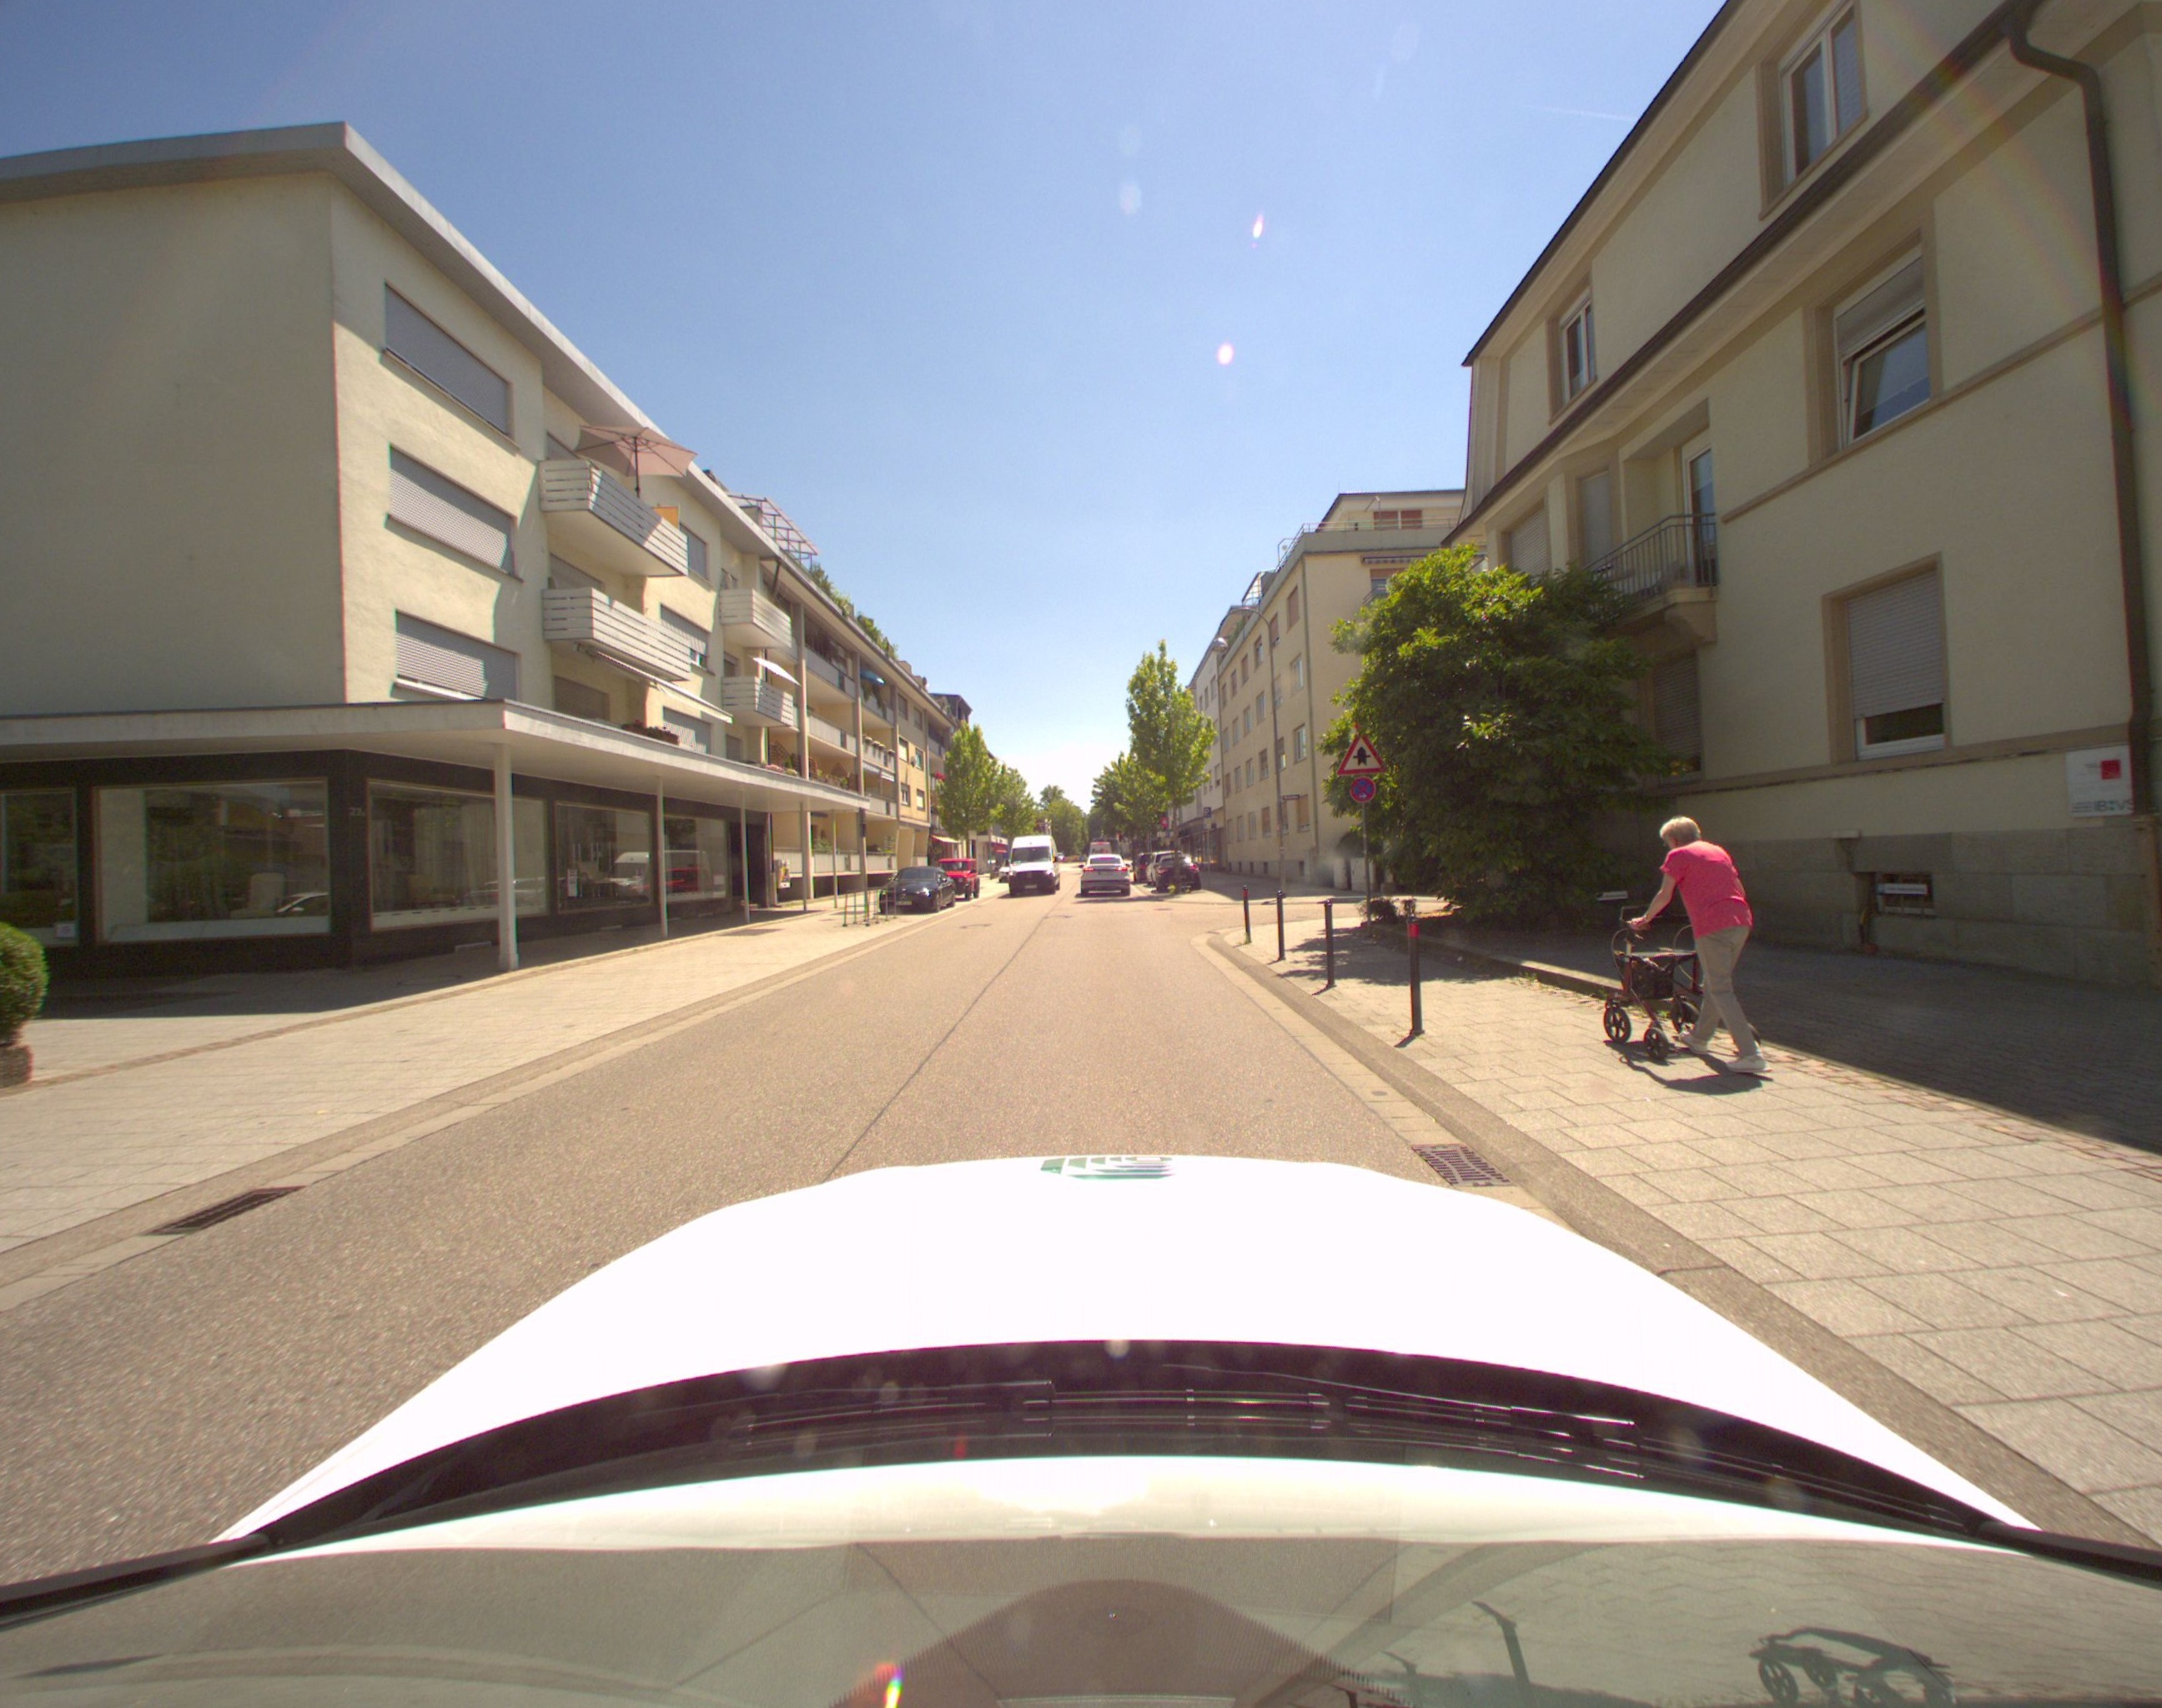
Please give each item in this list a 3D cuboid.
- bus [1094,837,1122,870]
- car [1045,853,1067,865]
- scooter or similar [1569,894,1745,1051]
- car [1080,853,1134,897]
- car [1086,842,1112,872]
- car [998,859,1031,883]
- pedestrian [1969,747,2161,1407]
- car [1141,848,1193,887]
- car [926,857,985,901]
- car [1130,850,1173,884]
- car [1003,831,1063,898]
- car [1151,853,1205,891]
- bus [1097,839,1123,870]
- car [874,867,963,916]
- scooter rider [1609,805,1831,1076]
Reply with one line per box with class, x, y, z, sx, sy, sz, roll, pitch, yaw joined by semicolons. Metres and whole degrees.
bus;2.810;0.003;83.330;2.649;3.221;7.308;-1;-1;4
car;-3.960;0.814;129.426;1.848;1.757;4.023;-1;-1;24
scooter or similar;4.018;0.798;5.739;0.661;0.963;0.754;-4;0;1
car;0.980;0.790;32.556;1.987;1.633;3.999;-1;0;0
car;1.561;0.248;69.303;2.148;2.442;5.285;-1;-1;1
car;-4.579;1.164;56.934;1.745;1.618;4.403;0;0;2
pedestrian;2.954;0.527;1.923;0.698;1.626;0.783;-5;-1;0
car;4.193;0.651;40.383;1.891;1.674;4.688;-4;0;-1
car;-5.095;0.995;33.623;1.746;1.702;4.101;0;0;1
car;3.883;0.709;45.731;1.851;1.674;4.534;-4;0;-1
car;-2.053;0.441;37.337;2.029;2.630;7.108;-4;0;1
car;4.015;0.714;34.241;1.888;1.438;4.547;-3;0;3
bus;3.308;0.074;90.676;2.649;3.210;7.458;-1;-1;4
car;-5.272;1.185;27.147;1.889;1.417;5.048;0;0;1
scooter rider;4.005;0.508;5.171;0.714;1.548;0.770;-3;0;-1
